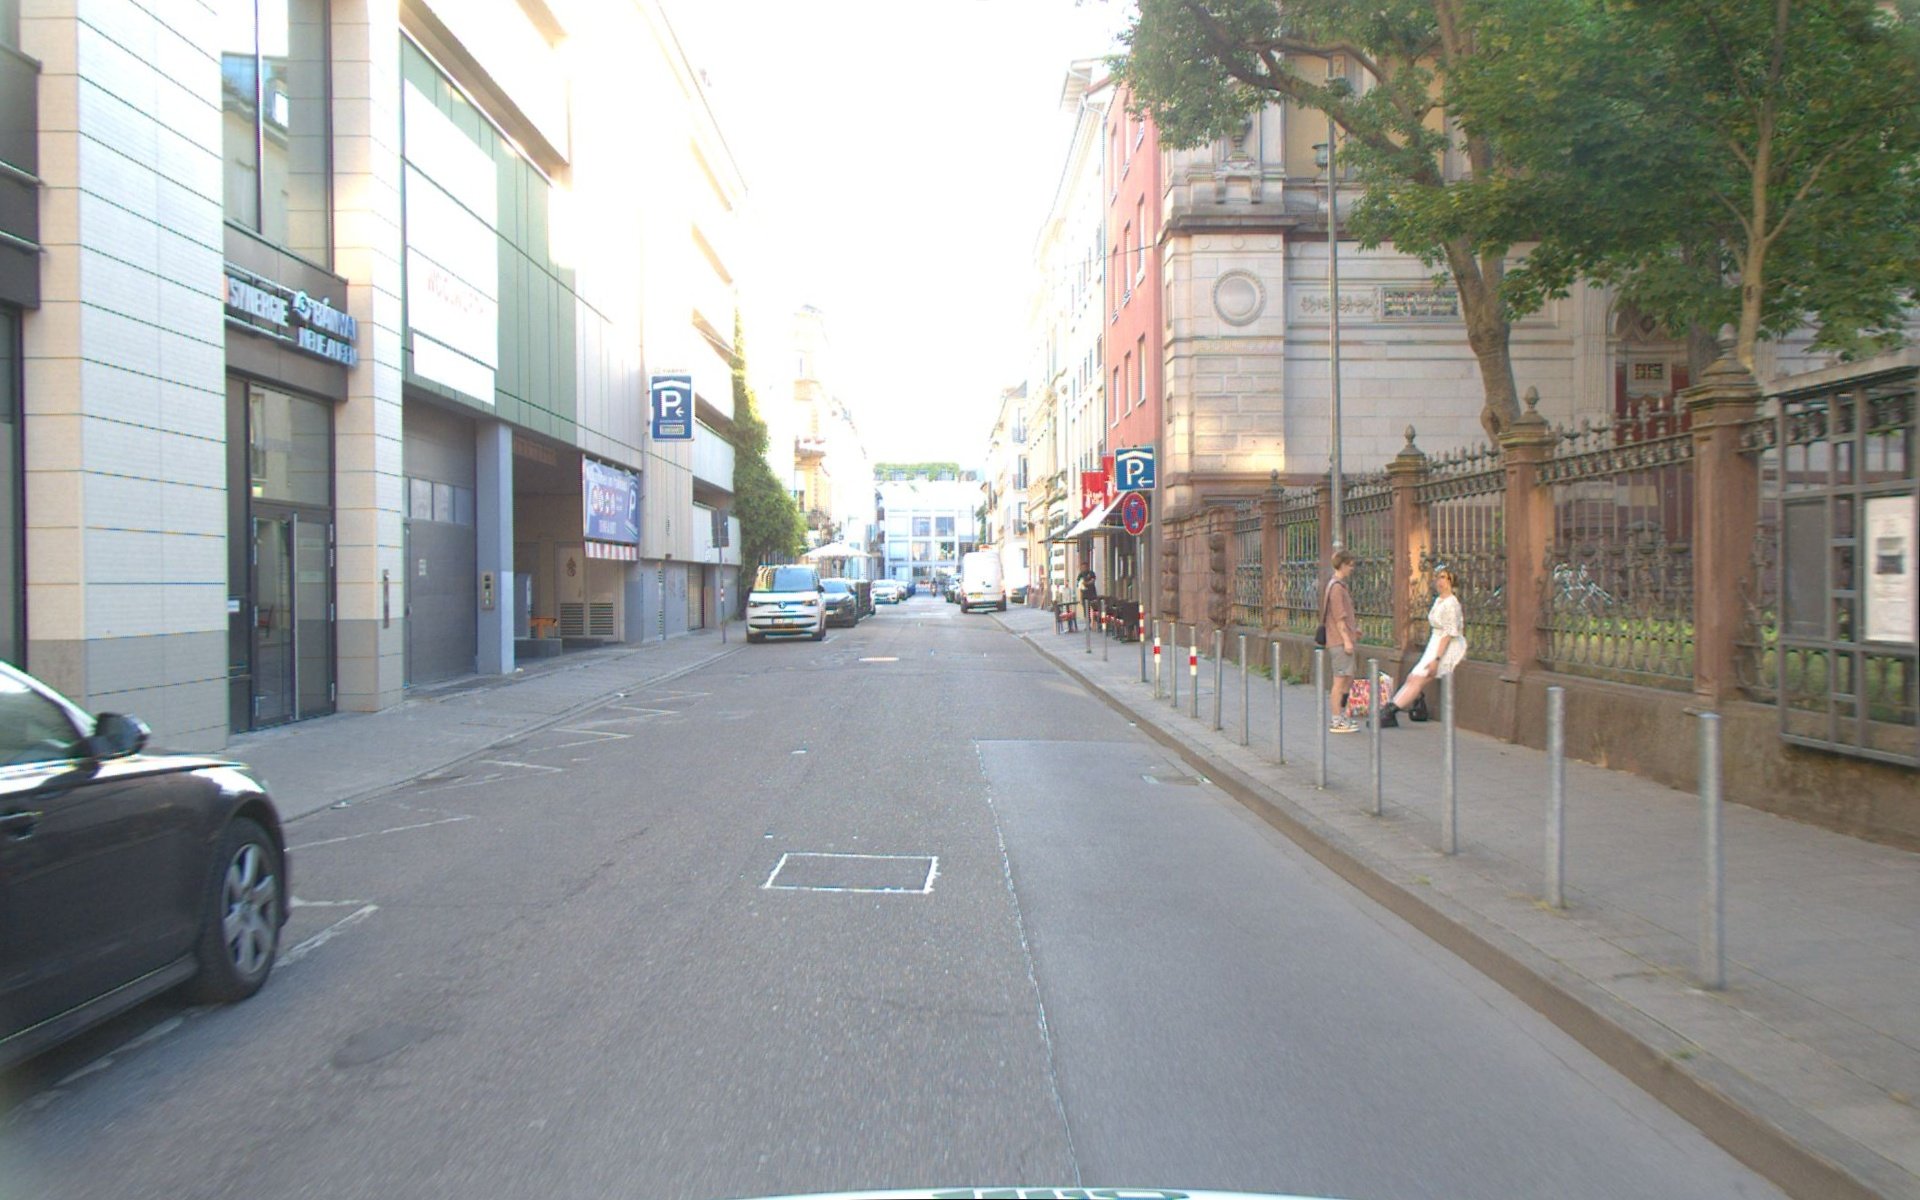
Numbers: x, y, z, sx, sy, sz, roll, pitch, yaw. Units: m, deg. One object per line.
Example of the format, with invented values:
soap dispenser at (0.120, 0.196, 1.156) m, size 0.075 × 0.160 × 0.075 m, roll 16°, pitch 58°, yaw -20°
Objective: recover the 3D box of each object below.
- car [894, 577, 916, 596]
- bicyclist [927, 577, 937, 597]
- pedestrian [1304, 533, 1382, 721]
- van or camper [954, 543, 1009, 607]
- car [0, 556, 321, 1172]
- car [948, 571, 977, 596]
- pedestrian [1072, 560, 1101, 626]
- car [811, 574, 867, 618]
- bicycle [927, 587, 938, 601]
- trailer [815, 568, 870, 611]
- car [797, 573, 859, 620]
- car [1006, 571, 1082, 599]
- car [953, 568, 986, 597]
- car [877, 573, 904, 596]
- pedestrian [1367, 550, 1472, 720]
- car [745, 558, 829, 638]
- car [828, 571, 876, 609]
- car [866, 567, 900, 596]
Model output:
car at (-5.101, -1.279, 154.804) m, size 1.953 × 1.713 × 3.999 m, roll 0°, pitch 0°, yaw -1°
bicyclist at (-2.633, -1.216, 154.305) m, size 0.970 × 1.901 × 0.708 m, roll 0°, pitch 0°, yaw -1°
pedestrian at (3.544, 0.237, 15.331) m, size 0.475 × 1.687 × 0.618 m, roll -2°, pitch 1°, yaw -8°
van or camper at (0.950, -1.135, 76.172) m, size 2.212 × 2.652 × 5.111 m, roll -5°, pitch 0°, yaw -1°
car at (-3.464, 0.703, 4.380) m, size 1.845 × 1.626 × 4.688 m, roll 0°, pitch 1°, yaw -2°
car at (0.155, -1.105, 112.577) m, size 1.953 × 1.713 × 3.999 m, roll 0°, pitch 0°, yaw -1°
pedestrian at (3.291, -0.186, 43.014) m, size 0.648 × 1.695 × 0.624 m, roll -2°, pitch 1°, yaw -1°
car at (-4.259, -0.177, 58.836) m, size 1.846 × 1.478 × 3.998 m, roll 0°, pitch 1°, yaw -2°
bicycle at (-2.563, -0.599, 154.442) m, size 0.955 × 1.302 × 2.754 m, roll 0°, pitch 0°, yaw -1°
trailer at (-4.467, -0.381, 63.122) m, size 1.953 × 1.584 × 3.998 m, roll 0°, pitch 0°, yaw -2°
car at (-4.280, -0.145, 53.967) m, size 1.846 × 1.478 × 3.998 m, roll 0°, pitch 1°, yaw -2°
car at (4.390, -0.770, 86.846) m, size 3.906 × 1.445 × 1.656 m, roll 0°, pitch 0°, yaw -1°
car at (0.555, -1.054, 100.739) m, size 1.953 × 1.713 × 3.999 m, roll 0°, pitch 0°, yaw -1°
car at (-5.235, -1.147, 125.074) m, size 1.953 × 1.713 × 3.999 m, roll 0°, pitch 0°, yaw -1°
pedestrian at (4.286, 0.315, 15.461) m, size 0.735 × 1.526 × 0.618 m, roll -2°, pitch 1°, yaw -6°
car at (-4.402, -0.085, 42.655) m, size 1.846 × 1.945 × 4.746 m, roll 0°, pitch 1°, yaw -3°
car at (-4.398, -0.431, 67.573) m, size 1.846 × 1.478 × 3.998 m, roll 0°, pitch 1°, yaw -2°
car at (-4.704, -1.135, 102.032) m, size 1.953 × 1.713 × 3.999 m, roll 0°, pitch 0°, yaw -1°
